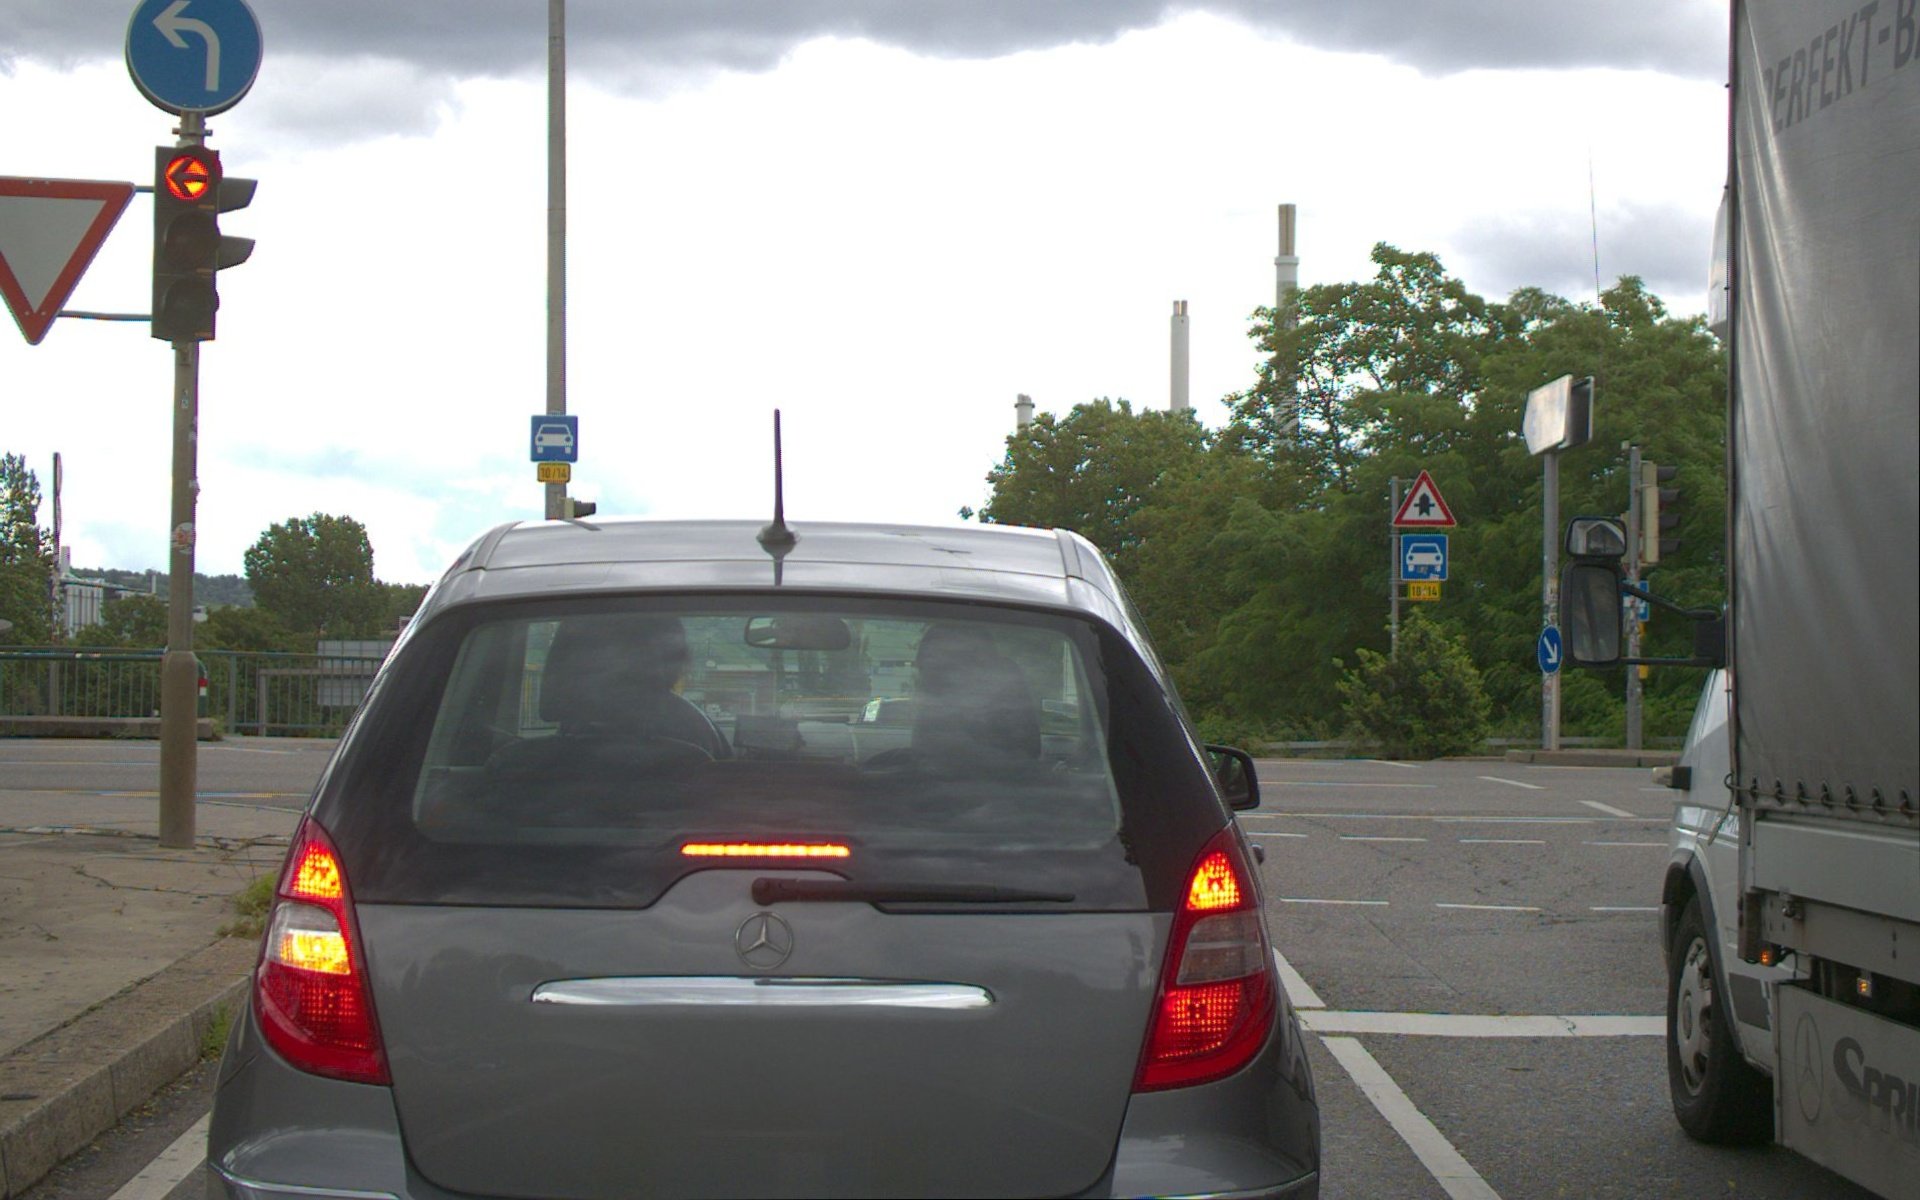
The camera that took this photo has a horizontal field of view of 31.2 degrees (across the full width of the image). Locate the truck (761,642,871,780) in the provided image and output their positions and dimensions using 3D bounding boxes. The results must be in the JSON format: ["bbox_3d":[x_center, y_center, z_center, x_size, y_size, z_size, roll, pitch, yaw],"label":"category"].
[{"bbox_3d":[-4.319,3.162,101.217,2.789,3.506,10.250,0,1,-5],"label":"truck"}]

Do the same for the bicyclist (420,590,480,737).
[{"bbox_3d":[-5.951,0.732,40.058,0.653,1.668,0.870,0,1,-11],"label":"bicyclist"}]

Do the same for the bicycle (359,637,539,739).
[{"bbox_3d":[-5.963,1.017,40.050,2.032,1.121,0.929,0,1,-11],"label":"bicycle"}]

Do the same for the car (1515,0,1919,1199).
[{"bbox_3d":[2.940,-0.239,6.235,2.659,3.318,7.091,0,0,0],"label":"car"}]

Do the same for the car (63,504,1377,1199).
[{"bbox_3d":[-0.290,0.603,6.866,1.858,1.583,4.000,0,2,2],"label":"car"}]
